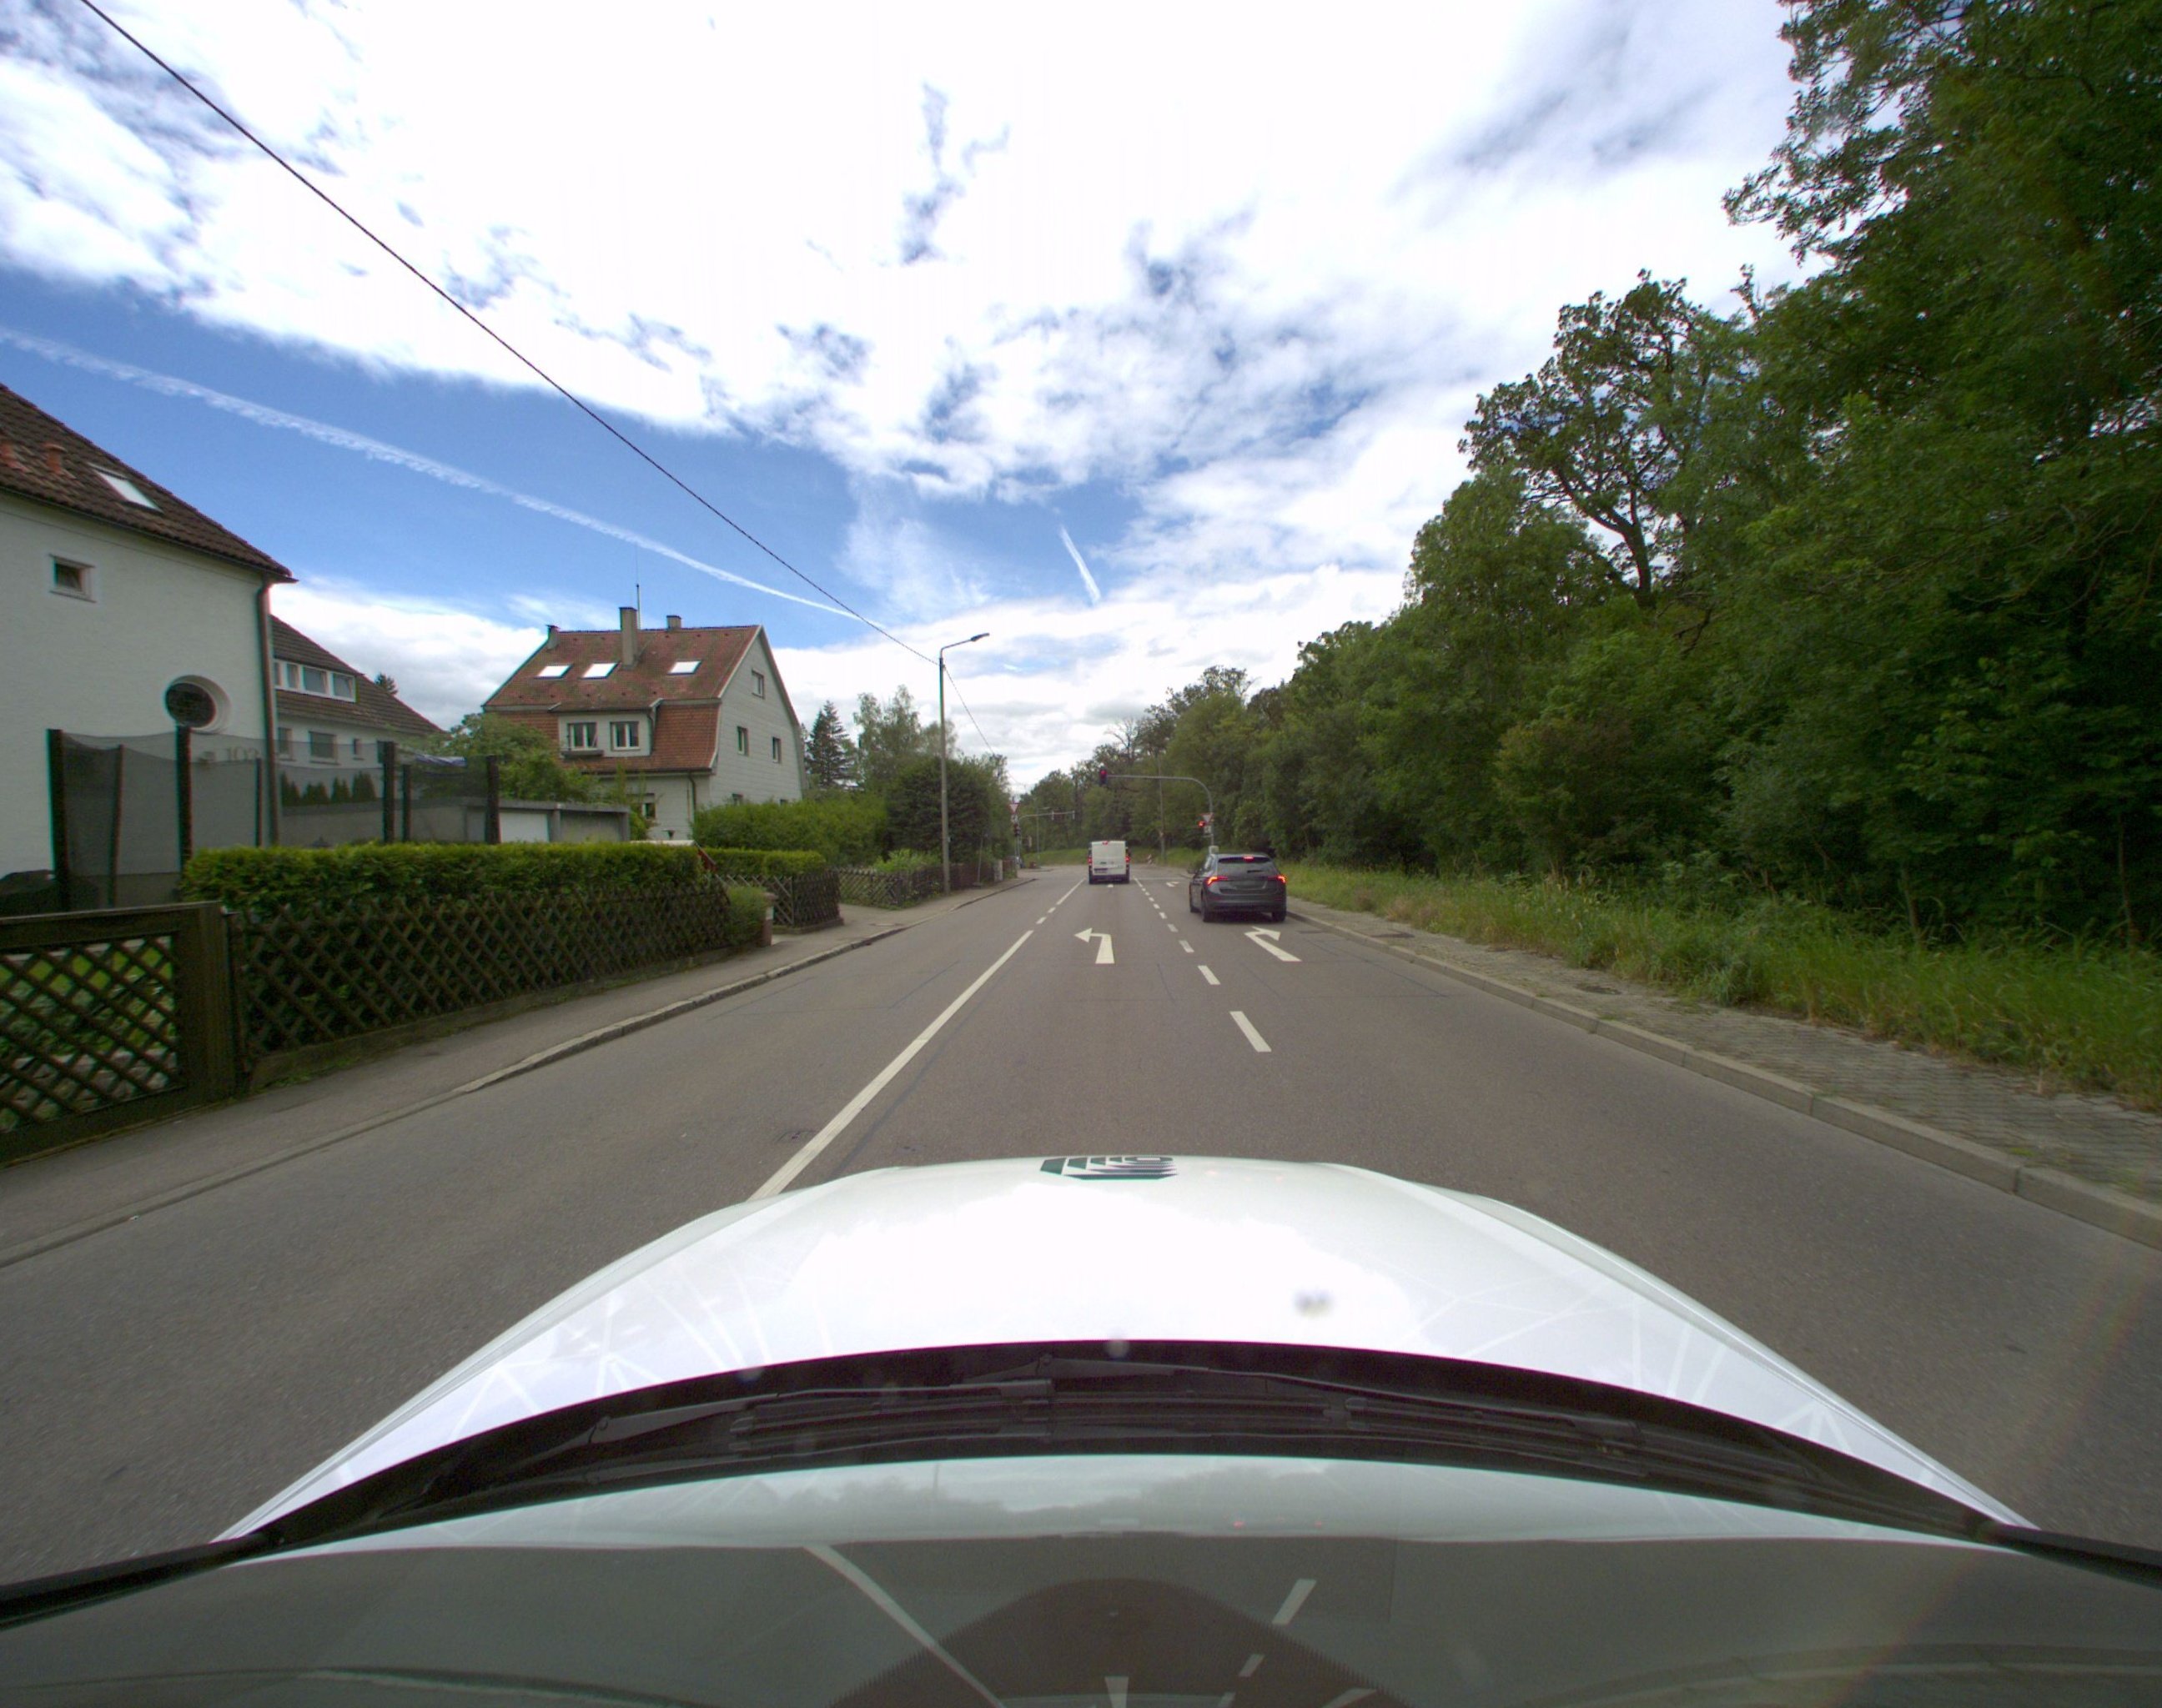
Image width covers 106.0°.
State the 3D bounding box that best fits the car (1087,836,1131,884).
[{"bbox_3d":[1.264,0.263,38.601,1.910,2.053,4.613,-2,0,0],"label":"car"}]

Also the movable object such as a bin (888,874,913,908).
[{"bbox_3d":[-5.210,1.073,23.575,0.548,0.938,0.538,-2,0,3],"label":"movable object such as a bin"}]

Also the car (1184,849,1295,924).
[{"bbox_3d":[3.423,0.640,18.256,1.786,1.450,4.002,-2,0,2],"label":"car"}]

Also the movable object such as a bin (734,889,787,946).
[{"bbox_3d":[-5.565,1.092,14.161,0.628,0.913,0.562,1,1,14],"label":"movable object such as a bin"}]

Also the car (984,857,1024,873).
[{"bbox_3d":[-8.539,1.187,90.080,4.093,1.553,1.845,-2,1,-15],"label":"car"}]
